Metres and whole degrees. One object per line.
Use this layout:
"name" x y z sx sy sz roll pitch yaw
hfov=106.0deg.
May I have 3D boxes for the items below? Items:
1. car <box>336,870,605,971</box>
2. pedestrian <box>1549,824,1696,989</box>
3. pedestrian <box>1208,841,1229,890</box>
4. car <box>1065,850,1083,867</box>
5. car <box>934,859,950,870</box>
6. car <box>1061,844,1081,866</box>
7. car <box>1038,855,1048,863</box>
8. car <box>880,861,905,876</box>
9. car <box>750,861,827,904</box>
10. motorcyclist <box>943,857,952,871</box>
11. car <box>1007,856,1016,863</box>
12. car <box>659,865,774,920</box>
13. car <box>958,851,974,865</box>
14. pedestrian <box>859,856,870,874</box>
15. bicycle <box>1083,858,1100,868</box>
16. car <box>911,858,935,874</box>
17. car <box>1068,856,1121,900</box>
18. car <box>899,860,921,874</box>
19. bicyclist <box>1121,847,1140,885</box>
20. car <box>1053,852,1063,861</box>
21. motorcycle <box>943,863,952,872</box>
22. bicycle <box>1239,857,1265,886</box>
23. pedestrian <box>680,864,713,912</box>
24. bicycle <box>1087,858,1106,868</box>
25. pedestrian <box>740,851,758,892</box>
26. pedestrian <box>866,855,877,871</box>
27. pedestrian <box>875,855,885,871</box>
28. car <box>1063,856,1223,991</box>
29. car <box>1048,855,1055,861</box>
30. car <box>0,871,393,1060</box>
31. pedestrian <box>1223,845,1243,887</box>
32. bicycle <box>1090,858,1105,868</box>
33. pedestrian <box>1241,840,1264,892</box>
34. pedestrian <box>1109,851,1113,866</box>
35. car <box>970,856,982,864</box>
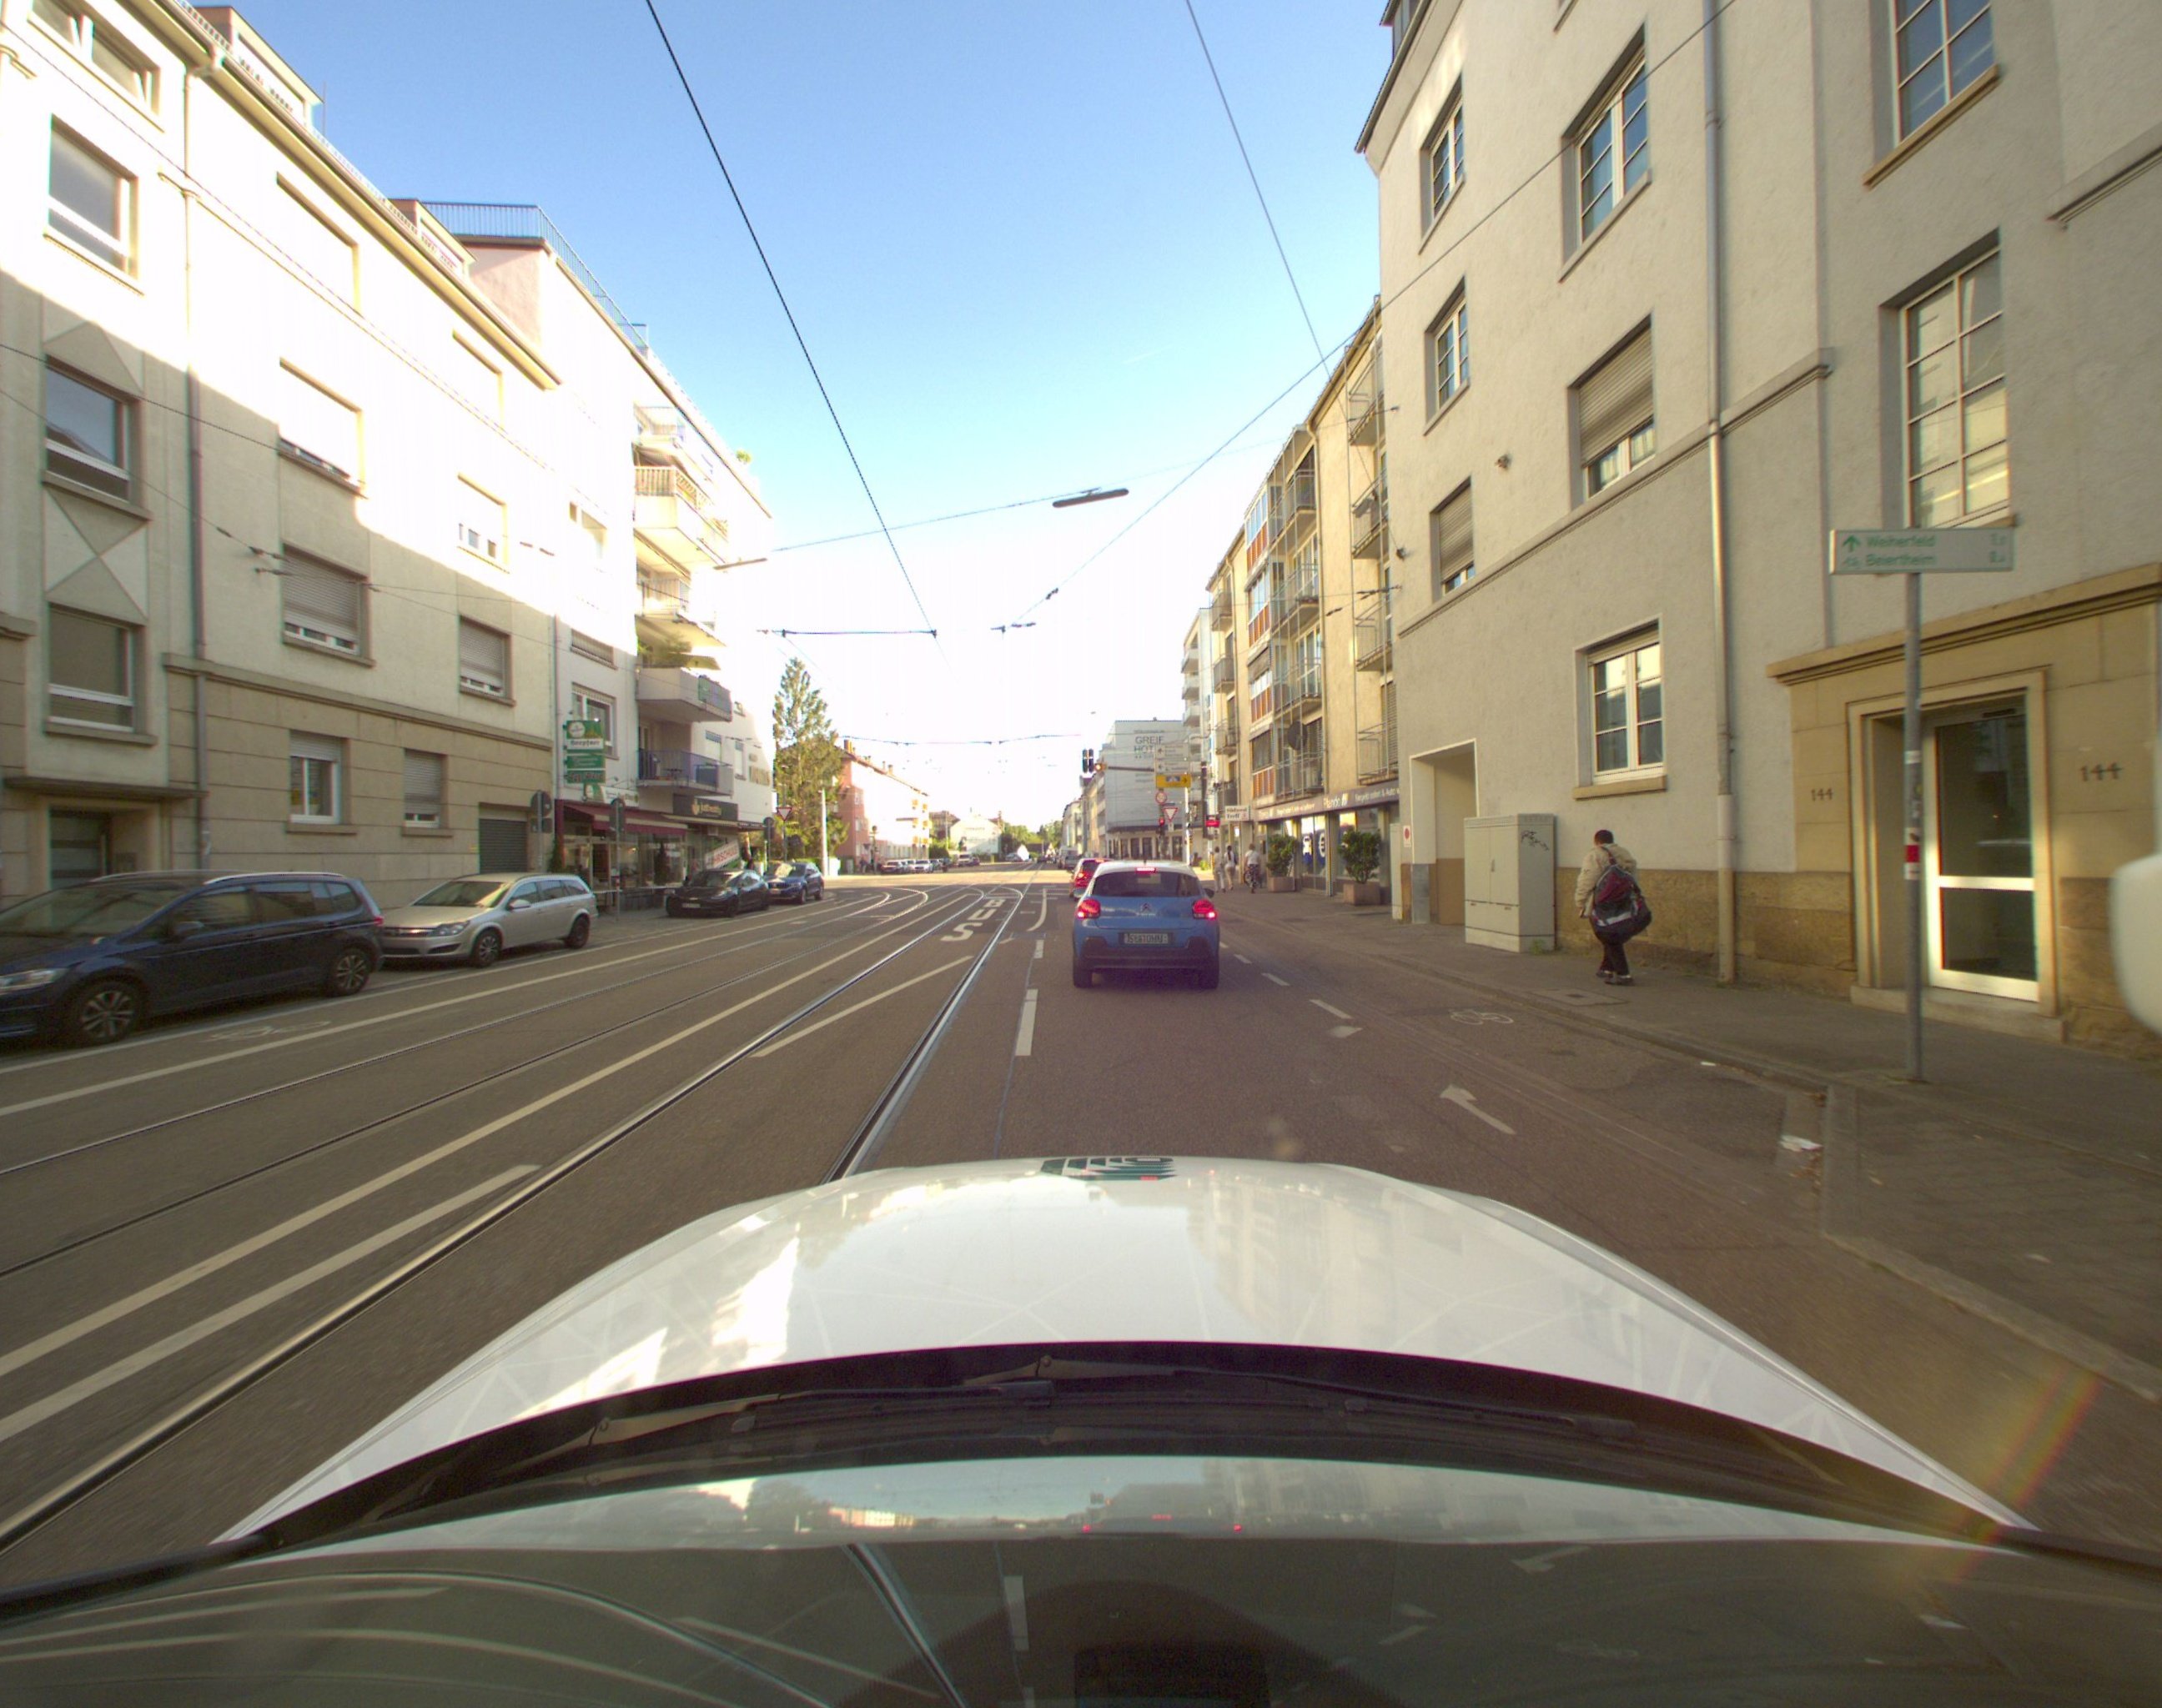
"car" -10.681 1.073 14.749 1.695 1.509 4.382 0 -1 -3
"pedestrian" 5.437 0.502 8.239 0.823 1.534 0.869 -3 0 -1
"pedestrian" 4.849 0.389 28.761 0.540 1.672 0.624 -3 1 -1
"car" -0.754 0.472 82.863 1.728 1.750 3.211 0 0 -2
"car" -20.716 1.540 121.558 1.907 1.497 3.995 -2 0 -3
"car" -1.110 0.160 87.784 1.989 2.325 3.996 0 0 -2
"car" -7.069 0.919 150.786 1.753 1.259 3.824 -1 0 -6
"car" -19.510 1.457 84.296 1.908 1.433 3.993 -2 0 -5
"car" -11.106 1.048 31.181 1.741 1.509 3.994 0 -1 -4
"motorcyclist" -13.535 1.056 82.551 0.716 1.378 0.911 -2 0 1
"car" -15.767 1.132 184.870 2.017 1.525 3.995 -1 0 -3
"car" -11.047 1.113 25.045 1.695 1.509 4.308 0 -1 -2
"car" -18.973 0.678 134.811 2.202 2.251 4.671 -2 0 -3
"pedestrian" -21.574 1.099 81.220 0.840 1.690 0.738 -1 0 3
"bicycle" 1.075 0.957 83.729 1.713 0.957 0.702 -2 0 2
"car" -16.780 1.247 86.613 1.845 1.574 4.397 -1 0 -2
"car" 0.472 0.794 28.842 1.732 1.420 4.000 -1 0 1
"car" -19.836 1.468 94.651 1.907 1.497 3.995 -2 0 -3
"bicyclist" 2.160 0.527 35.541 0.723 1.646 0.790 -1 0 1
"car" -4.133 0.449 146.862 1.684 1.618 3.997 0 0 -2
"motorcycle" -13.535 1.344 82.704 0.613 0.864 1.671 -2 0 1
"bicycle" 6.505 0.657 31.111 0.529 1.072 1.809 -1 0 -2
"pedestrian" -12.790 1.126 27.111 0.695 1.548 0.721 -1 0 1
"bicycle" 1.576 0.941 82.367 1.866 0.957 0.702 -2 0 2
"pedestrian" -16.607 0.873 40.762 0.685 2.013 0.485 -1 0 -5
"pedestrian" -22.456 0.989 87.306 0.840 1.690 0.738 -1 0 3
"pedestrian" -21.579 0.983 87.408 0.840 1.690 0.738 -1 0 3
"car" 0.824 0.760 10.899 1.736 1.462 4.005 0 0 4
"car" -9.375 1.208 259.923 1.987 1.794 4.000 -1 0 1
"car" -10.345 1.016 9.132 1.695 1.615 4.240 0 -1 -2
"pedestrian" 5.643 0.439 30.306 0.540 1.507 0.611 -3 1 -1
"bicycle" 1.650 0.935 81.307 1.498 0.957 0.702 -2 0 2
"pedestrian" 5.678 0.385 27.028 0.540 1.672 0.650 -3 0 -1
"pedestrian" 3.140 0.438 85.373 0.284 1.556 0.304 -2 0 -8
"car" -20.669 1.212 159.793 2.017 1.525 3.995 -1 0 -3
